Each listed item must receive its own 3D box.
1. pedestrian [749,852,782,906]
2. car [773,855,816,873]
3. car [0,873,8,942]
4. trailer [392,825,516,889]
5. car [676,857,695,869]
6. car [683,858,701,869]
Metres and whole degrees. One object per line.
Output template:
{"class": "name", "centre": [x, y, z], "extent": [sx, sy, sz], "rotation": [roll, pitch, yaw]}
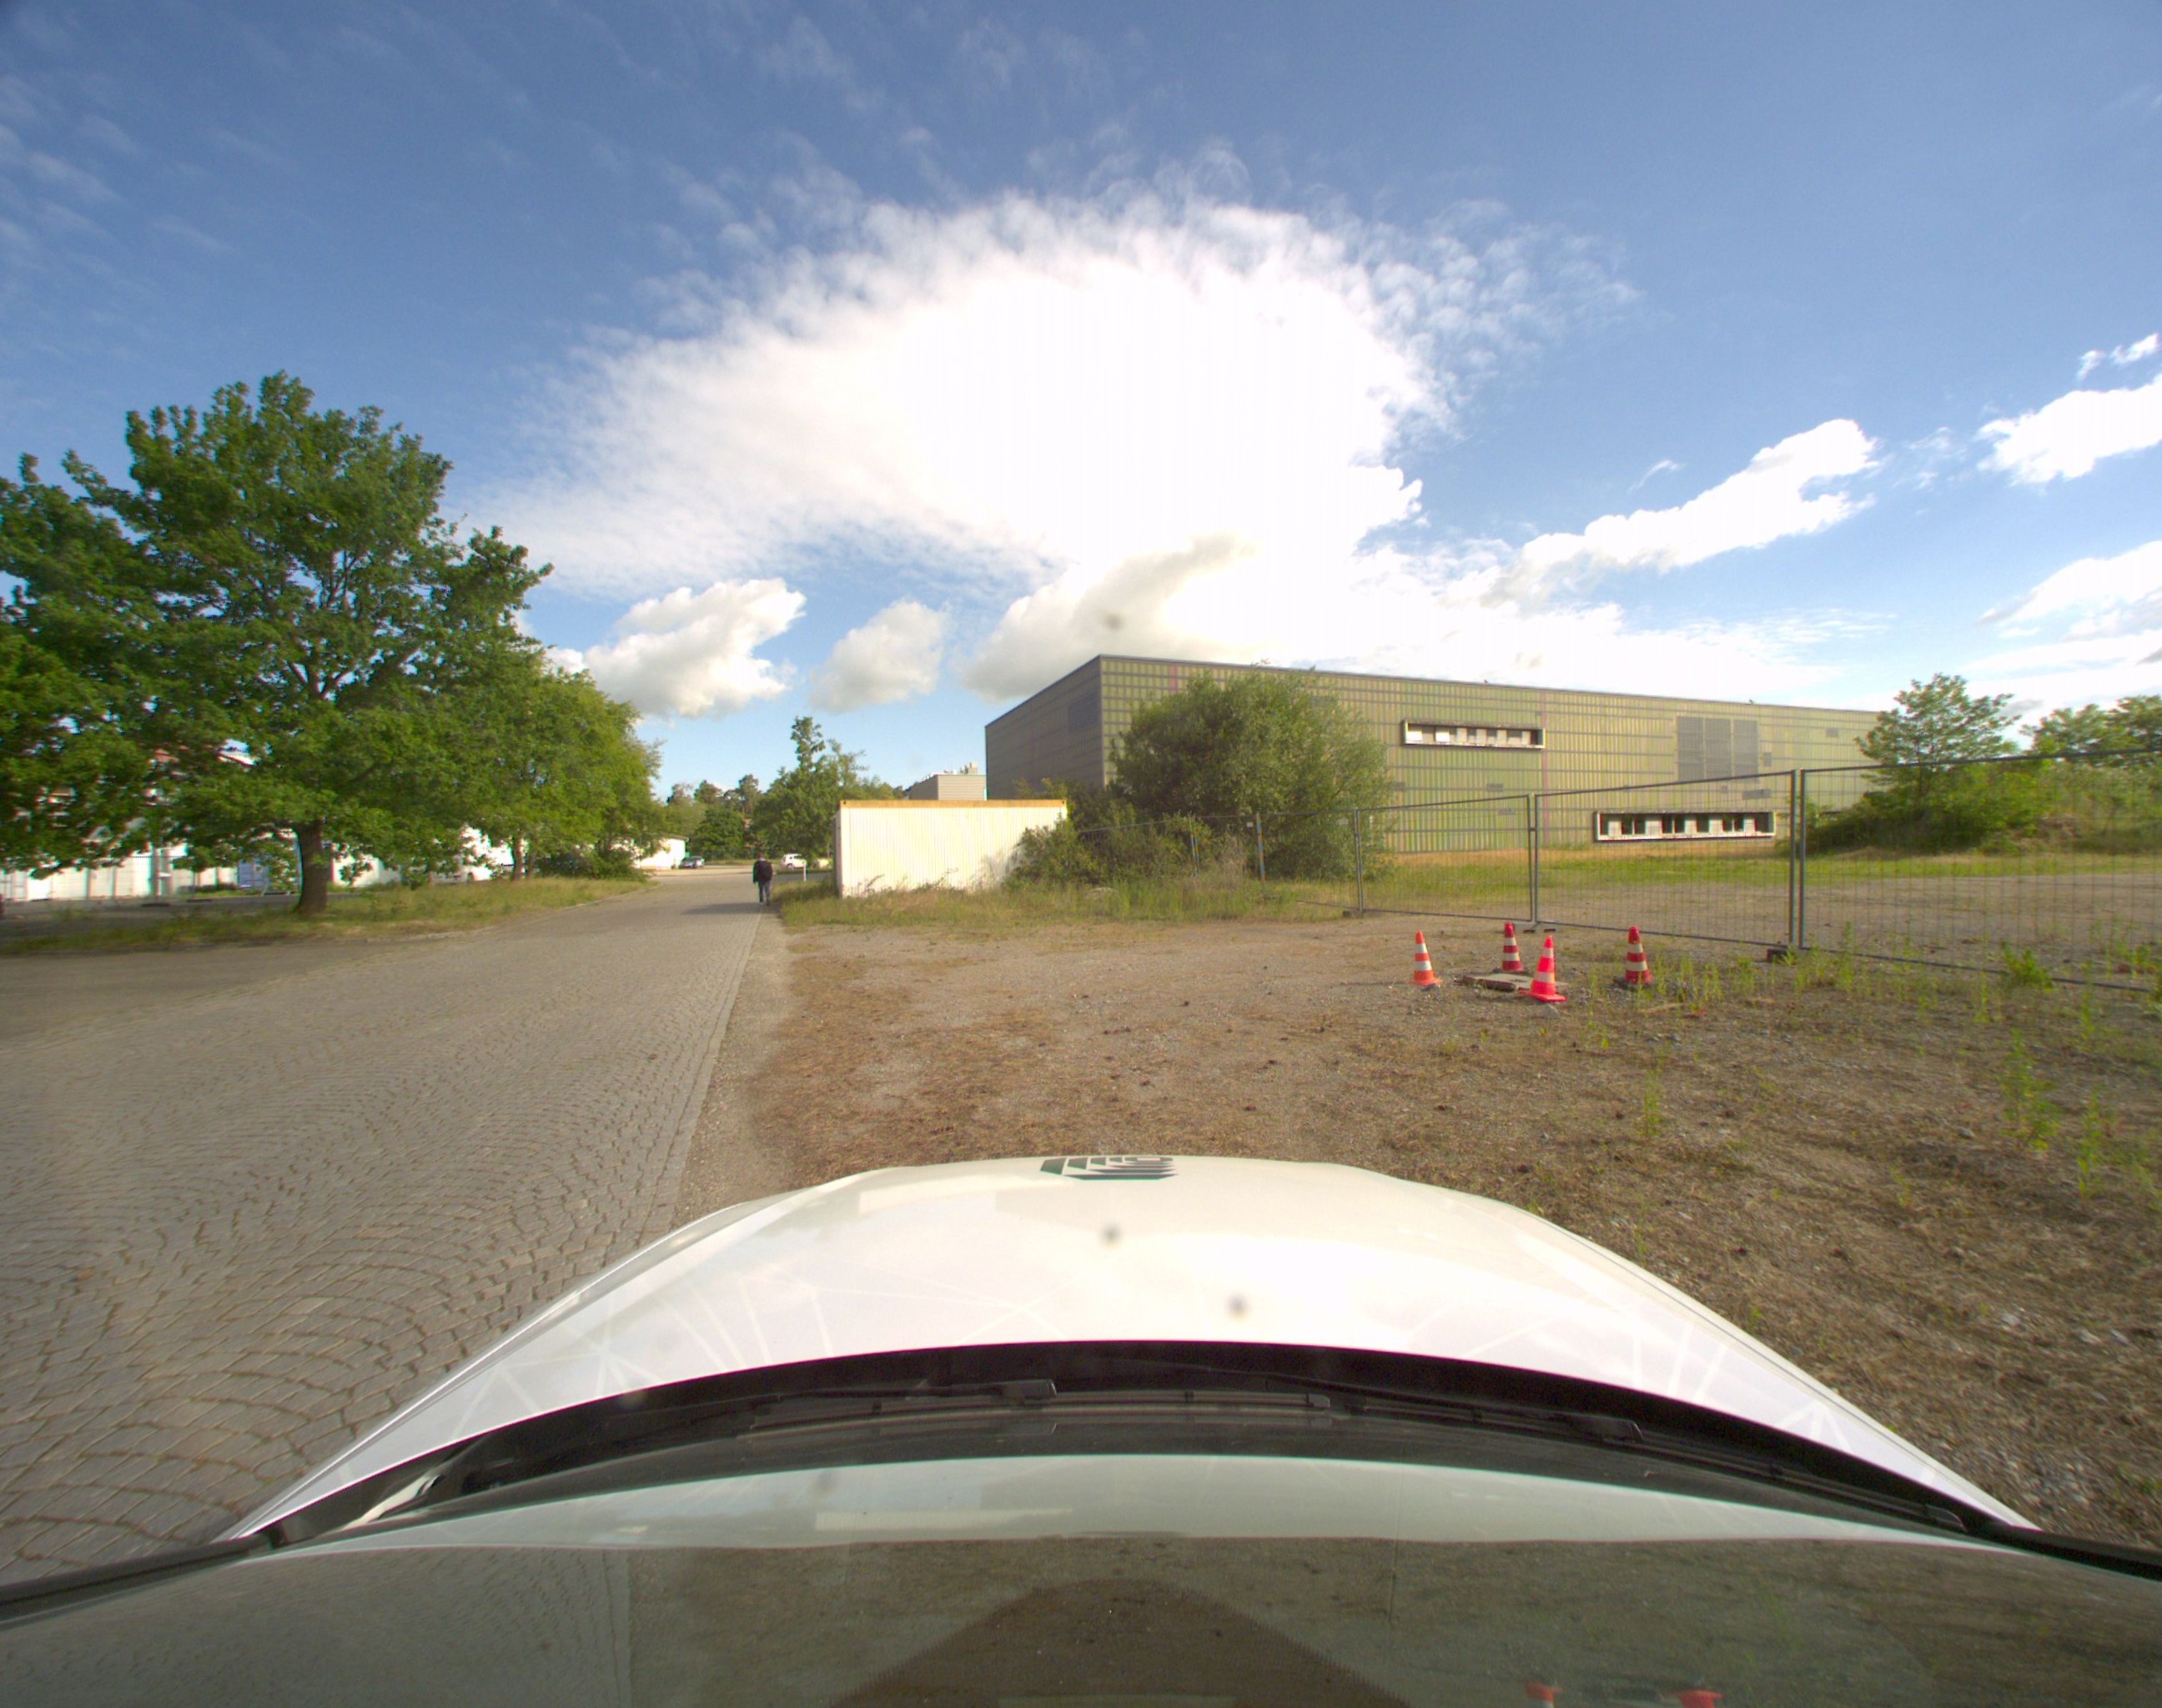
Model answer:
{"class": "pedestrian", "centre": [-9.460, 0.731, 24.436], "extent": [0.868, 1.559, 1.020], "rotation": [-2, 0, -23]}
{"class": "car", "centre": [-29.109, 1.007, 82.820], "extent": [3.995, 1.643, 1.989], "rotation": [-1, 0, -16]}
{"class": "car", "centre": [-23.092, 1.145, 15.096], "extent": [1.725, 1.464, 3.980], "rotation": [-1, 0, -14]}
{"class": "trailer", "centre": [-37.888, 0.171, 49.734], "extent": [2.926, 3.471, 9.837], "rotation": [-1, 0, -19]}
{"class": "car", "centre": [-48.954, 1.077, 100.666], "extent": [2.005, 1.371, 3.964], "rotation": [-2, 1, -27]}
{"class": "car", "centre": [-52.619, 1.273, 110.190], "extent": [2.005, 1.376, 3.964], "rotation": [-2, 0, -27]}
